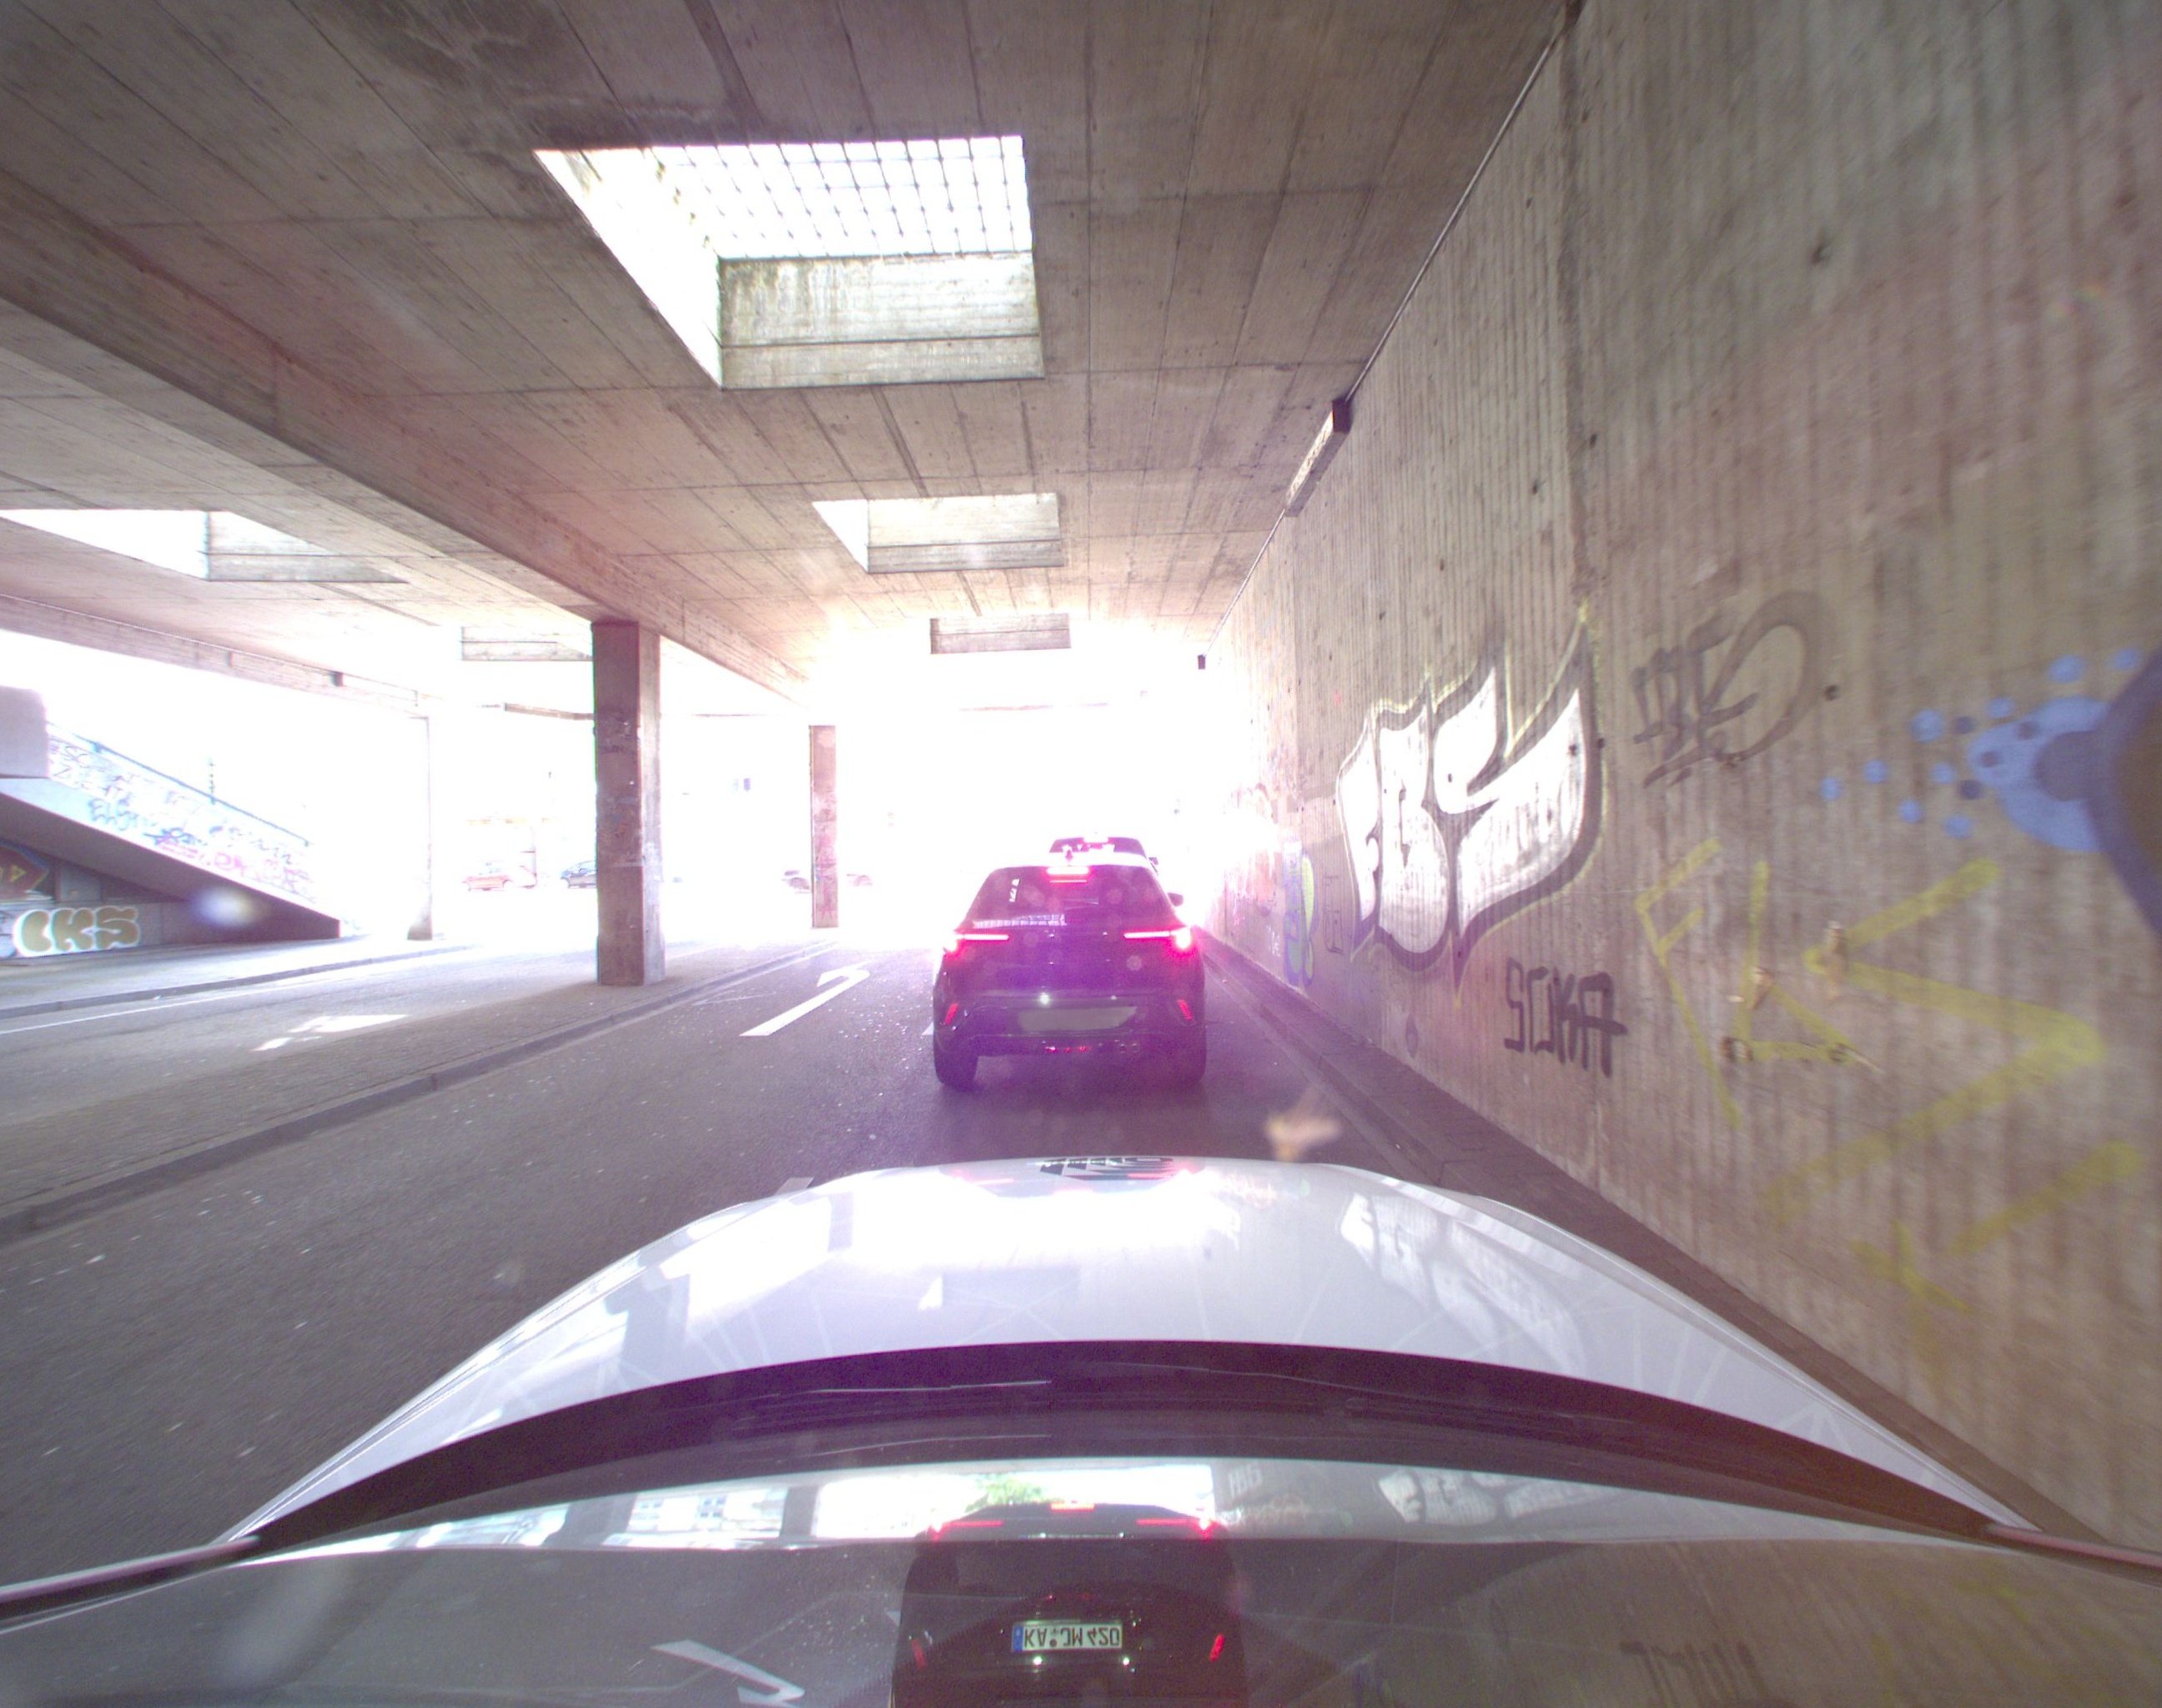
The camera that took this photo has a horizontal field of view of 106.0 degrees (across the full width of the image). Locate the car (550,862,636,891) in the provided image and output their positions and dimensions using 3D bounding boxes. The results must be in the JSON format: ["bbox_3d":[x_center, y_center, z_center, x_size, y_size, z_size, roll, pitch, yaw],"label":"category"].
[{"bbox_3d":[-27.401,1.250,45.785,3.742,1.508,1.752,-2,0,0],"label":"car"}]

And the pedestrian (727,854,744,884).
[{"bbox_3d":[-20.086,0.874,47.351,0.719,1.705,0.624,0,-1,-5],"label":"pedestrian"}]

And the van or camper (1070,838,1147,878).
[{"bbox_3d":[1.530,0.223,44.212,3.854,2.013,2.005,-2,0,9],"label":"van or camper"}]

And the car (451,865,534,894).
[{"bbox_3d":[-32.925,1.406,45.621,3.519,1.506,1.563,-2,0,2],"label":"car"}]

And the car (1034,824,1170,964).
[{"bbox_3d":[0.345,0.525,12.768,1.779,1.833,3.962,-1,0,2],"label":"car"}]

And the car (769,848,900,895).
[{"bbox_3d":[-9.821,0.672,32.718,4.563,1.641,2.000,-2,1,-1],"label":"car"}]

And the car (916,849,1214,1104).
[{"bbox_3d":[-0.020,0.717,6.798,1.746,1.498,4.002,0,0,2],"label":"car"}]

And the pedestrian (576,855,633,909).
[{"bbox_3d":[-16.011,0.919,27.396,1.103,1.737,1.146,-2,0,15],"label":"pedestrian"}]
